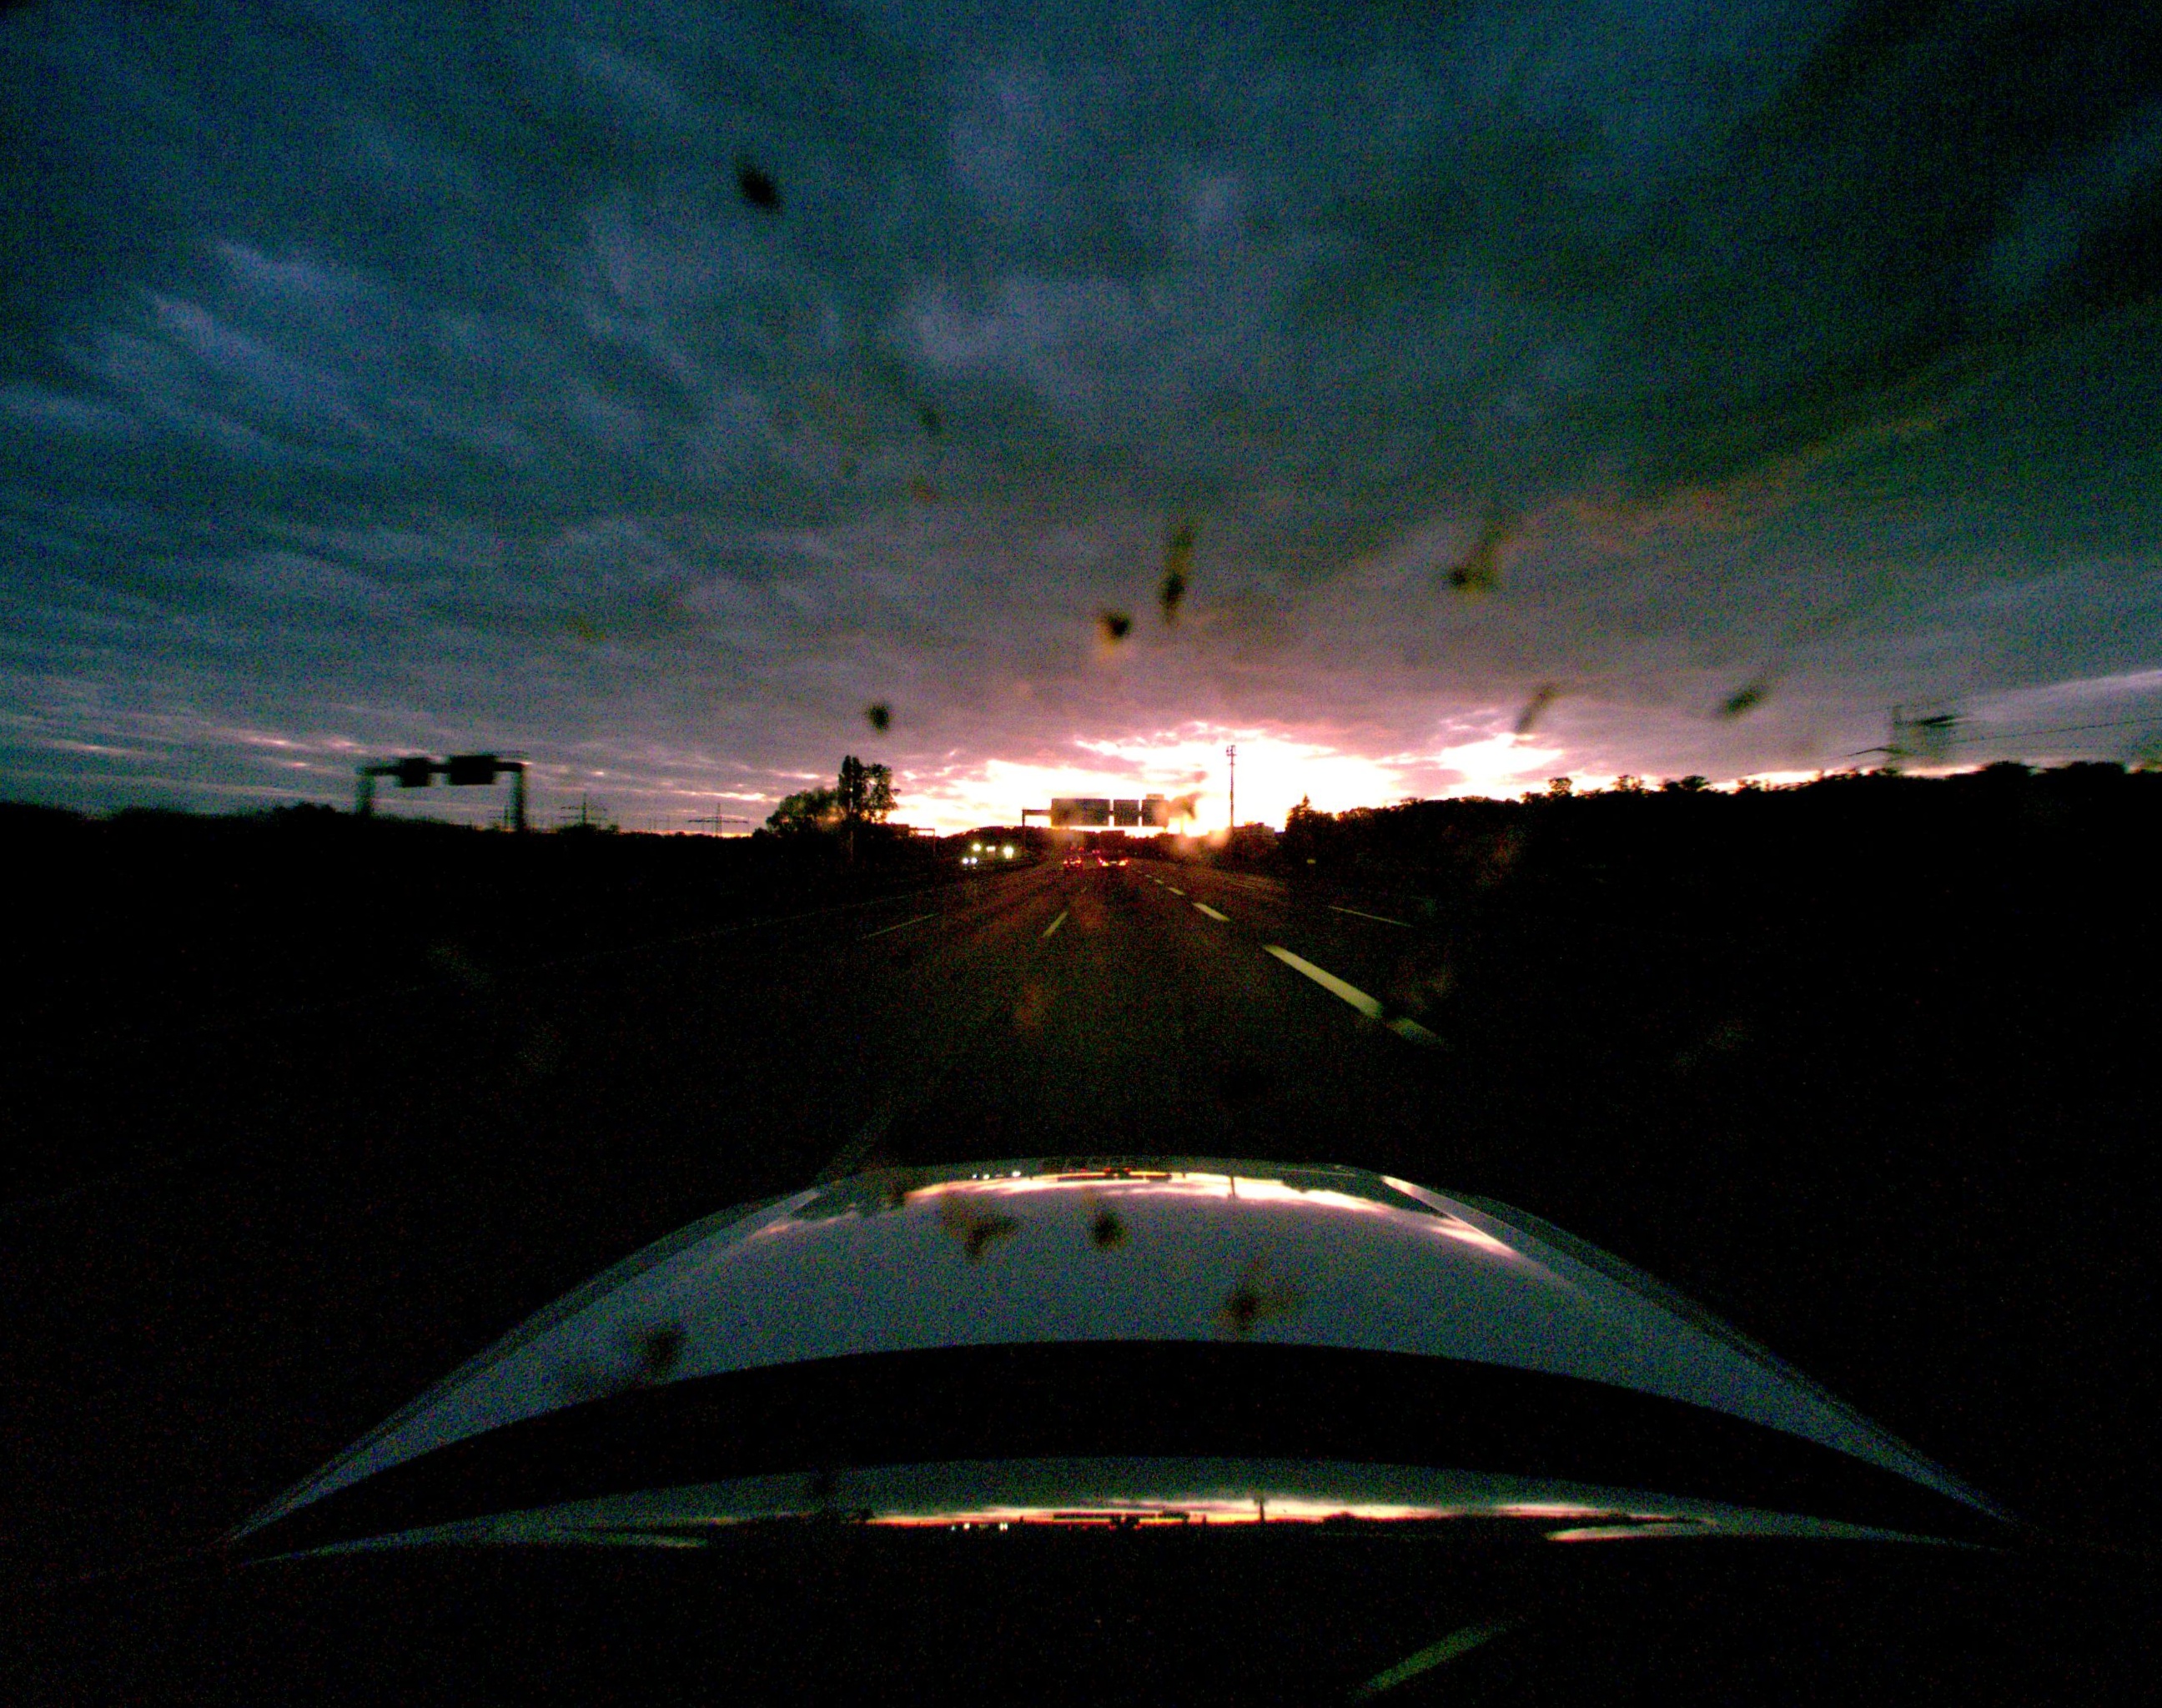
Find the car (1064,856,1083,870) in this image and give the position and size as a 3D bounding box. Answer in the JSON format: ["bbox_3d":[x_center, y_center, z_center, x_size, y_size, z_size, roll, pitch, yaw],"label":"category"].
[{"bbox_3d":[-0.796,0.903,83.576,1.686,1.401,3.404,-1,-1,-3],"label":"car"}]

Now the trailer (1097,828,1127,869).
[{"bbox_3d":[3.219,-0.593,85.602,2.713,4.071,8.829,-1,1,0],"label":"trailer"}]

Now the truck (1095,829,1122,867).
[{"bbox_3d":[3.178,-0.720,95.270,2.682,4.071,10.518,-1,1,0],"label":"truck"}]

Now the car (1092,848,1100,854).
[{"bbox_3d":[4.472,-0.833,242.133,1.990,1.717,3.994,-1,-1,-4],"label":"car"}]

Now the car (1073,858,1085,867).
[{"bbox_3d":[-0.345,1.323,127.613,1.683,1.401,3.411,-2,-1,3],"label":"car"}]

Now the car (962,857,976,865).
[{"bbox_3d":[-21.098,1.359,153.580,1.987,1.404,4.328,0,0,0],"label":"car"}]
